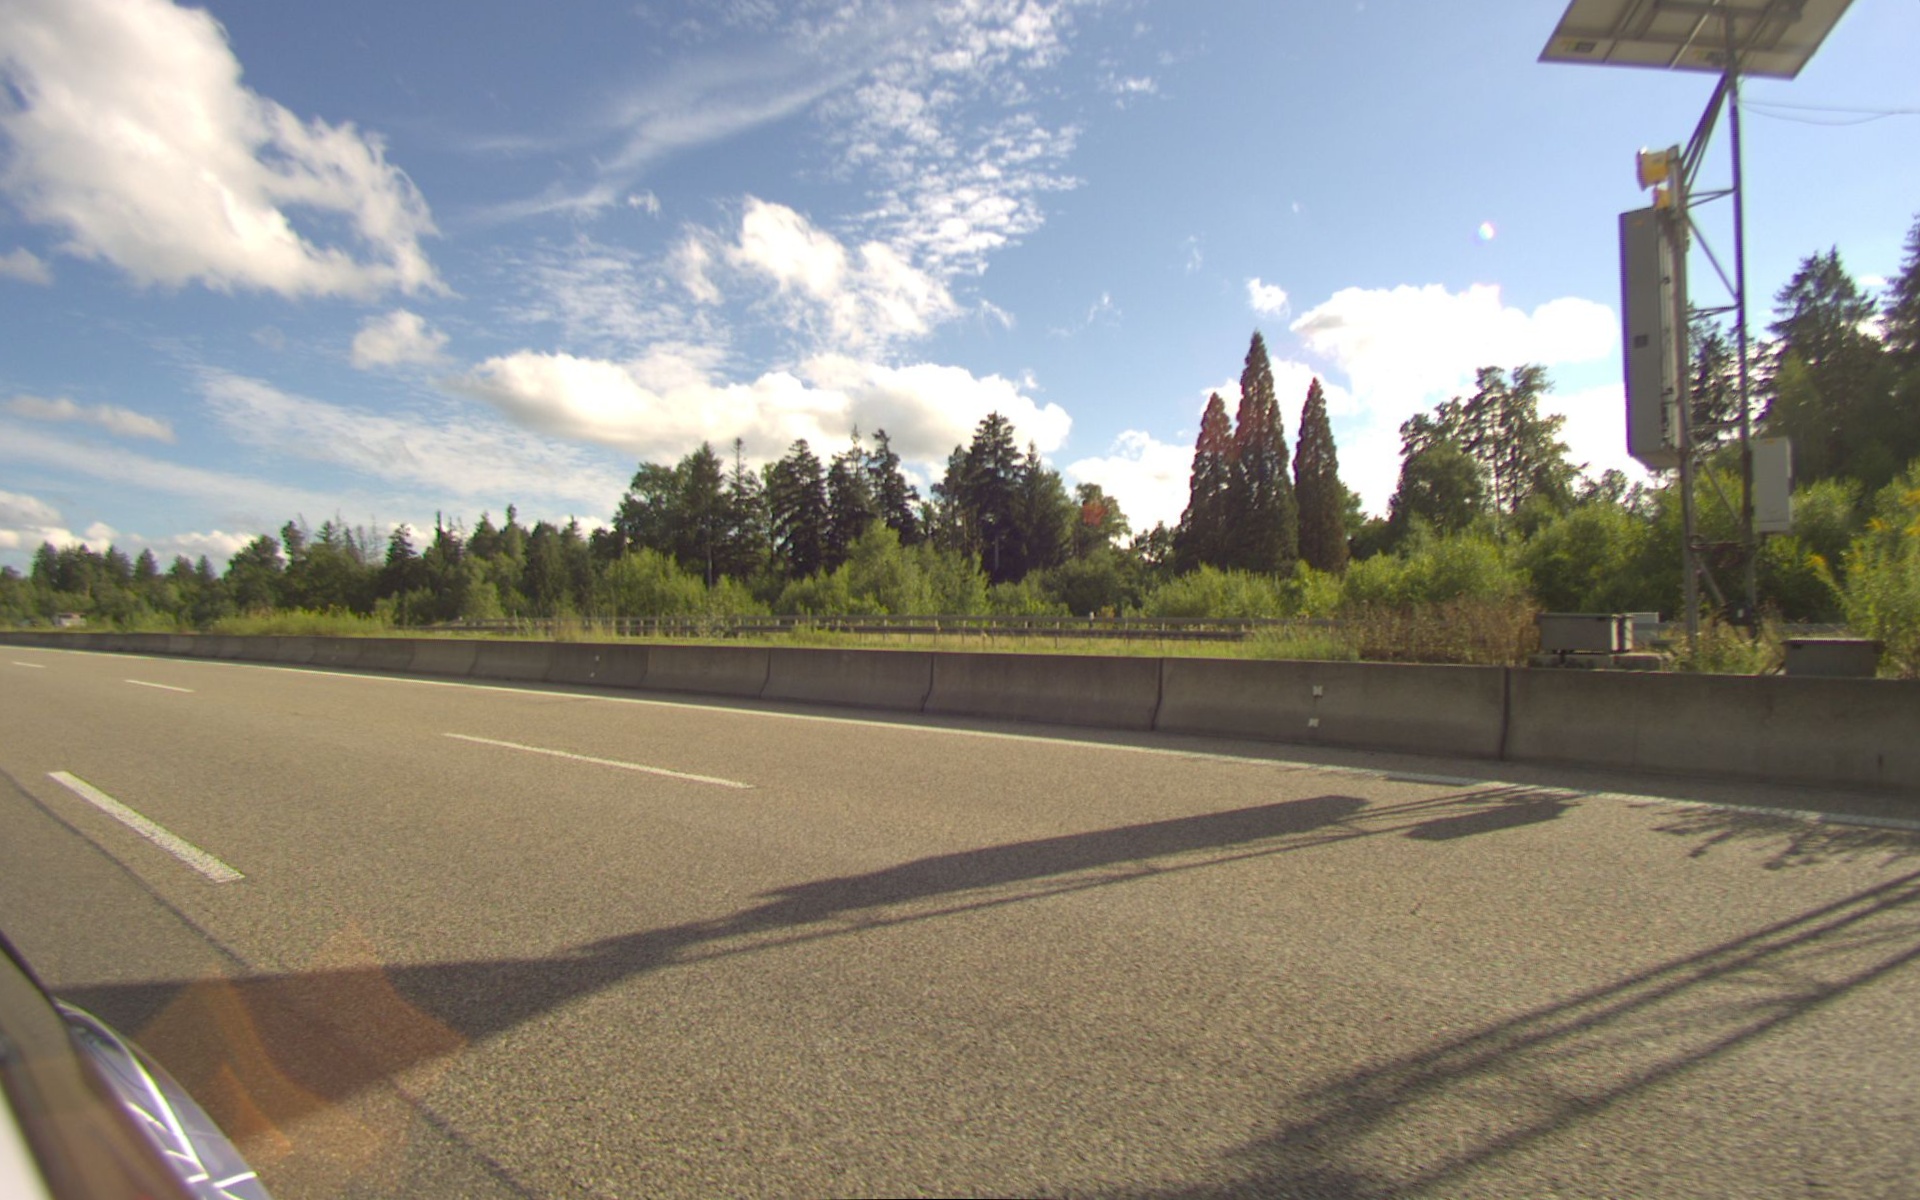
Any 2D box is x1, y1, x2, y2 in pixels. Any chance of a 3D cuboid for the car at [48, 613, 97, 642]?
[{"bbox_3d":[-80.342,2.493,91.593,6.187,2.335,2.287,-1,3,40],"label":"car"}]
